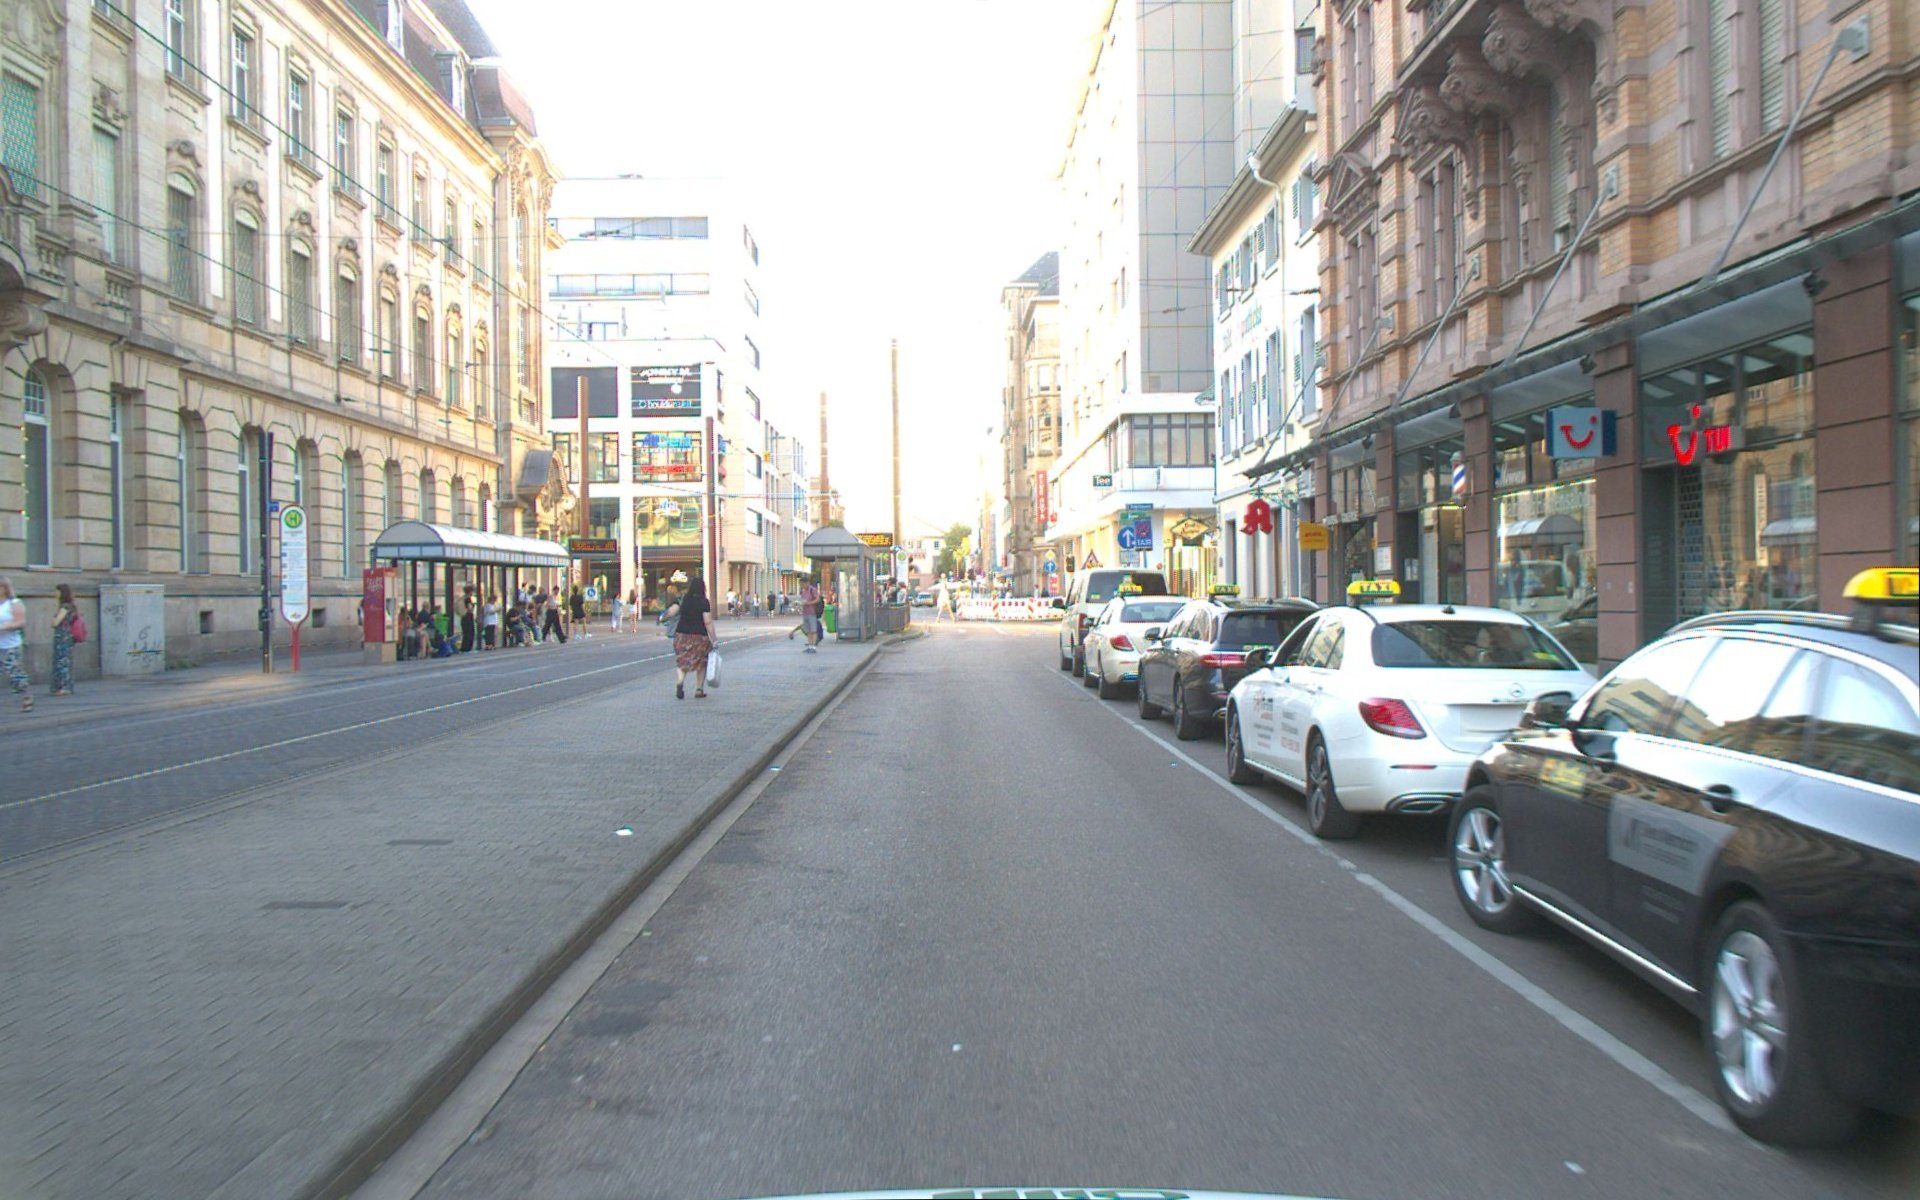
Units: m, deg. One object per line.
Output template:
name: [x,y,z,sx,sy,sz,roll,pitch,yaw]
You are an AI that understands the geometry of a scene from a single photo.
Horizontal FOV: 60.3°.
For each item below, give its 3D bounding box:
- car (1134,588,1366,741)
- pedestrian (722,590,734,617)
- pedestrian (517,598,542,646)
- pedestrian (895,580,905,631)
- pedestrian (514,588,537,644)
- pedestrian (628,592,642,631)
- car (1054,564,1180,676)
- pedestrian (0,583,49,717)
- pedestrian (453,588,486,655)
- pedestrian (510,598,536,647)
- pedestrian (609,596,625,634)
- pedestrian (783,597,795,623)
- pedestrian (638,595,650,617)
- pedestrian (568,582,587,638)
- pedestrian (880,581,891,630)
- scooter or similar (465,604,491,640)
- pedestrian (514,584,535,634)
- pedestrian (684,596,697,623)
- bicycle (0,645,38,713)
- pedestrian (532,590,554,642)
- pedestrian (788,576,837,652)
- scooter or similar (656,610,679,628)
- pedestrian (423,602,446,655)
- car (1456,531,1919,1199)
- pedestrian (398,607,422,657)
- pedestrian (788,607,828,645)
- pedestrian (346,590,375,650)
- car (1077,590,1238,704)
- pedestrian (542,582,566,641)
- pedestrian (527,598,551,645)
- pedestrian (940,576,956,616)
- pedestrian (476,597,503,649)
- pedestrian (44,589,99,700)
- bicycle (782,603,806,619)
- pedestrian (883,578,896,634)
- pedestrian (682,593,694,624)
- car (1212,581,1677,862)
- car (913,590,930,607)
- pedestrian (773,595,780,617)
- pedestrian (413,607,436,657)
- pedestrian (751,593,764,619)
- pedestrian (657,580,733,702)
car: [3.135,0.654,18.829,1.691,1.503,4.819,0,0,-1]
pedestrian: [-16.046,0.254,114.392,0.560,1.887,0.817,0,-1,11]
pedestrian: [-12.273,0.630,47.169,0.507,1.350,0.638,-1,-1,2]
pedestrian: [-2.154,0.203,59.586,0.335,1.827,0.544,0,-1,-3]
pedestrian: [-13.207,0.479,50.316,0.507,1.674,0.638,-1,-1,2]
pedestrian: [-13.067,0.467,66.432,0.517,1.552,0.500,0,0,-15]
car: [2.944,0.363,31.913,1.839,1.957,4.698,1,0,-1]
pedestrian: [-11.472,0.594,19.900,0.646,1.589,0.679,-1,0,-1]
pedestrian: [-12.280,0.535,41.384,0.507,1.679,0.638,-1,-1,21]
pedestrian: [-12.258,0.626,46.402,0.507,1.350,0.638,-1,-1,2]
pedestrian: [-13.793,0.603,66.603,0.507,1.552,0.501,0,0,3]
pedestrian: [-11.621,0.669,112.578,0.766,1.782,0.599,0,-1,-4]
pedestrian: [-22.440,0.434,117.354,0.560,1.553,0.791,0,-1,11]
pedestrian: [-12.539,0.332,54.226,0.548,1.807,0.468,0,0,-5]
pedestrian: [-2.556,0.186,56.756,0.378,1.670,0.549,0,-1,-3]
scooter or similar: [-16.304,0.729,56.012,0.477,1.202,1.293,0,0,1]
pedestrian: [-15.671,0.323,59.488,0.608,1.807,0.705,0,0,-4]
pedestrian: [-14.362,0.498,88.172,0.625,1.445,0.418,-1,0,1]
bicycle: [-13.226,1.044,22.125,1.542,0.889,0.451,0,-1,4]
pedestrian: [-12.879,0.502,51.089,0.507,1.597,0.638,-1,-1,2]
pedestrian: [-3.313,0.306,37.188,0.675,1.666,0.857,-1,0,39]
scooter or similar: [-15.584,1.025,88.103,1.071,0.920,0.890,-1,0,0]
pedestrian: [-12.182,0.651,38.317,0.357,1.221,0.430,0,-1,5]
car: [3.182,0.676,5.740,1.697,1.618,4.443,1,0,2]
pedestrian: [-12.269,0.713,36.883,0.357,1.122,0.430,0,-1,5]
pedestrian: [-3.883,0.664,42.209,0.781,0.955,0.693,0,0,22]
pedestrian: [-16.013,0.537,44.201,0.648,1.589,0.677,-1,0,-15]
car: [2.897,0.637,25.236,1.769,1.509,4.777,1,1,-1]
pedestrian: [-12.028,0.338,49.015,0.663,1.721,0.636,0,-1,-14]
pedestrian: [-12.215,0.635,48.041,0.507,1.350,0.638,-1,-1,2]
pedestrian: [-0.560,-0.198,77.461,0.685,1.847,0.852,0,0,1]
pedestrian: [-12.460,0.612,43.798,0.507,1.350,0.638,-1,-1,2]
pedestrian: [-13.249,0.661,24.671,0.558,1.633,0.441,0,-1,8]
bicycle: [-12.021,0.776,119.659,1.661,1.141,0.451,0,-1,1]
pedestrian: [-2.284,0.184,53.751,0.404,1.798,0.594,0,-1,-3]
pedestrian: [-14.180,0.451,86.194,0.558,1.621,0.448,-1,0,-4]
car: [3.095,0.696,11.702,1.697,1.537,4.863,1,0,-2]
car: [-4.431,-0.146,189.420,1.953,1.937,3.999,0,0,-2]
pedestrian: [-12.427,0.404,111.860,0.382,1.541,0.505,-1,0,-3]
pedestrian: [-12.125,0.717,37.472,0.357,1.122,0.430,0,-1,5]
pedestrian: [-12.973,0.382,105.948,0.635,1.703,0.530,-1,0,7]
pedestrian: [-3.395,0.509,21.238,0.829,1.527,0.901,-1,0,-1]
